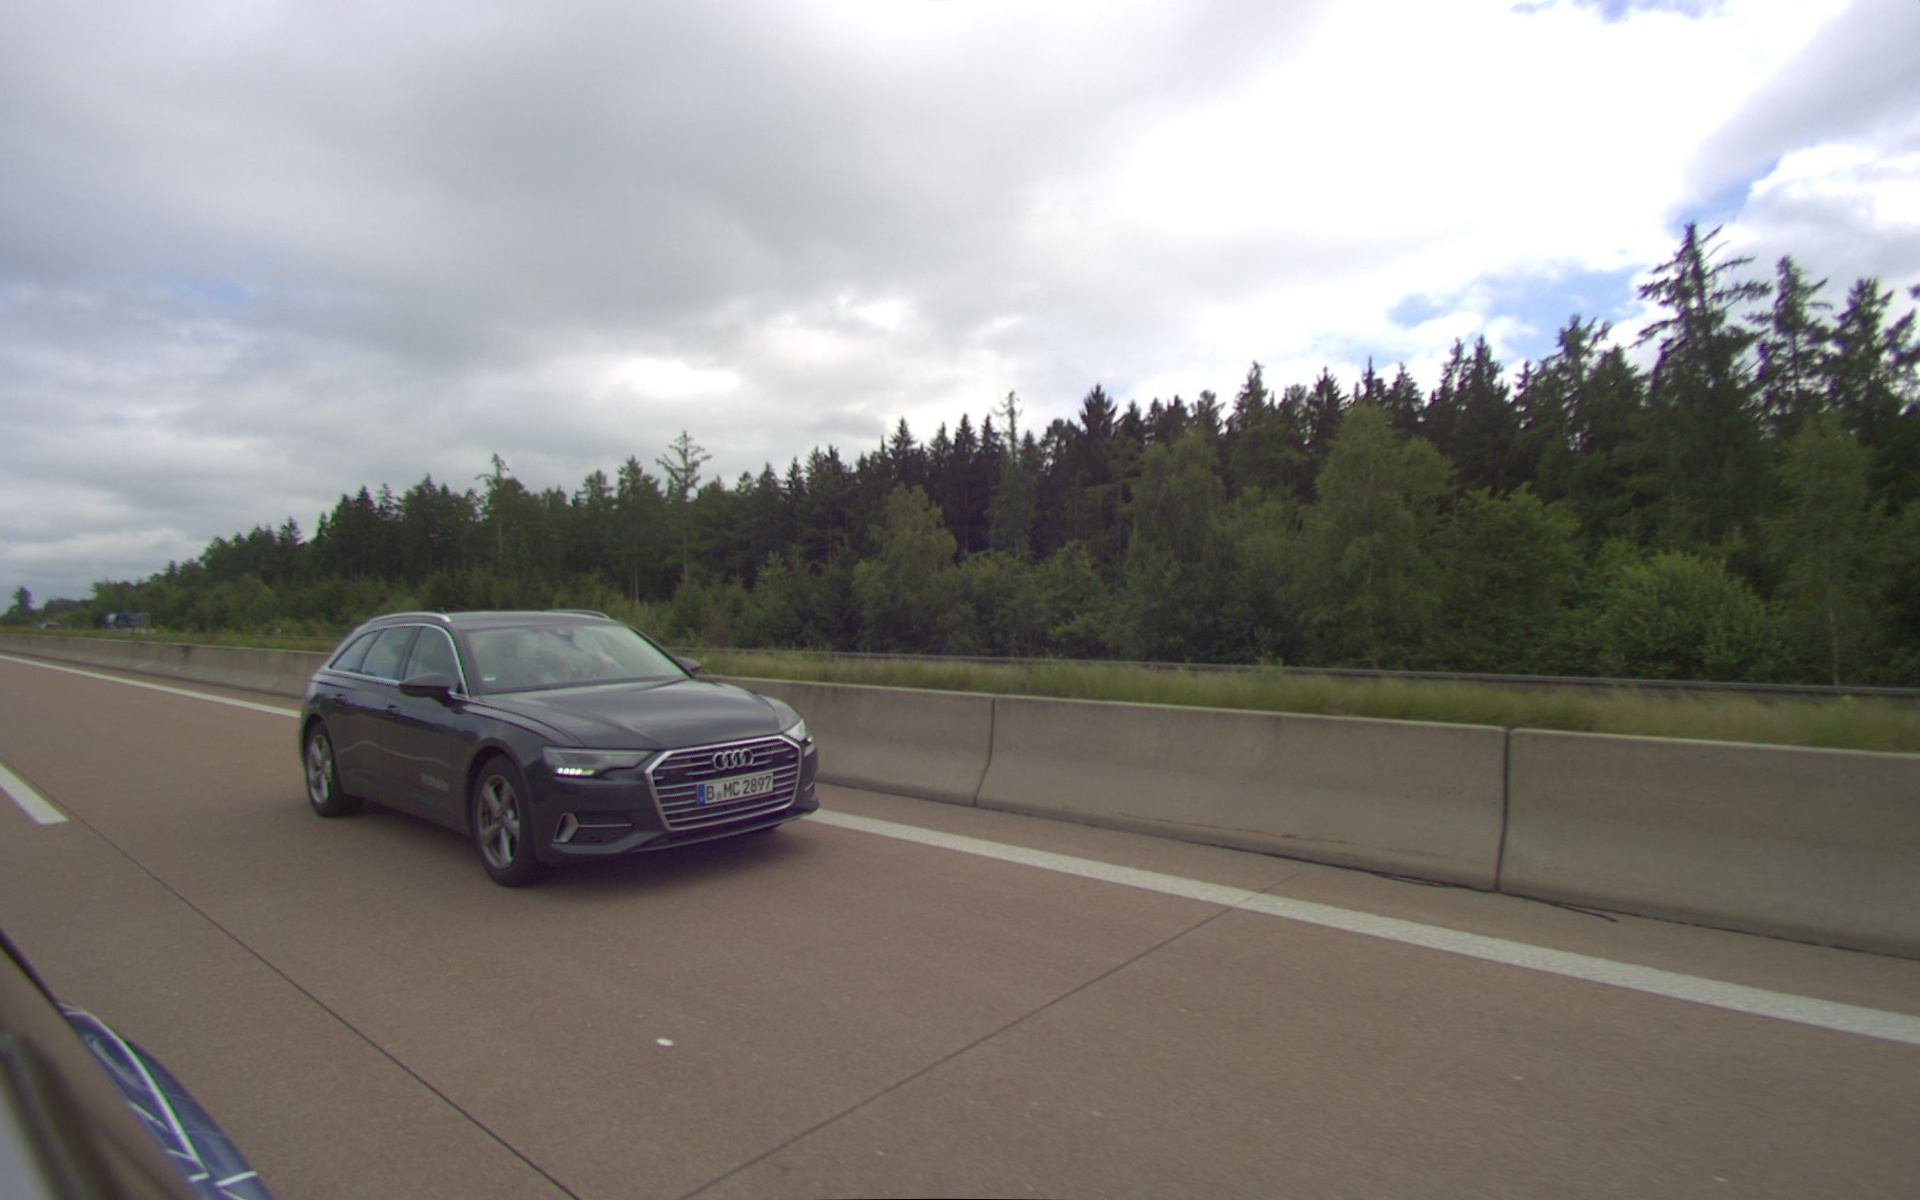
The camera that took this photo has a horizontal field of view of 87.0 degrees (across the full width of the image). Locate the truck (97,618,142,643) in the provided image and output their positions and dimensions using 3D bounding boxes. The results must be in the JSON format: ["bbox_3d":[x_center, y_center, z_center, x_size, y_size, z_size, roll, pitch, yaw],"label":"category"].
[{"bbox_3d":[-77.256,2.776,92.959,6.040,2.178,2.322,-2,-1,42],"label":"truck"}]

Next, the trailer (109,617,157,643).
[{"bbox_3d":[-72.687,2.660,88.894,6.186,2.178,2.307,-2,-1,42],"label":"trailer"}]

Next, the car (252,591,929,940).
[{"bbox_3d":[-2.892,0.766,6.958,5.451,1.503,2.037,-2,-1,42],"label":"car"}]
